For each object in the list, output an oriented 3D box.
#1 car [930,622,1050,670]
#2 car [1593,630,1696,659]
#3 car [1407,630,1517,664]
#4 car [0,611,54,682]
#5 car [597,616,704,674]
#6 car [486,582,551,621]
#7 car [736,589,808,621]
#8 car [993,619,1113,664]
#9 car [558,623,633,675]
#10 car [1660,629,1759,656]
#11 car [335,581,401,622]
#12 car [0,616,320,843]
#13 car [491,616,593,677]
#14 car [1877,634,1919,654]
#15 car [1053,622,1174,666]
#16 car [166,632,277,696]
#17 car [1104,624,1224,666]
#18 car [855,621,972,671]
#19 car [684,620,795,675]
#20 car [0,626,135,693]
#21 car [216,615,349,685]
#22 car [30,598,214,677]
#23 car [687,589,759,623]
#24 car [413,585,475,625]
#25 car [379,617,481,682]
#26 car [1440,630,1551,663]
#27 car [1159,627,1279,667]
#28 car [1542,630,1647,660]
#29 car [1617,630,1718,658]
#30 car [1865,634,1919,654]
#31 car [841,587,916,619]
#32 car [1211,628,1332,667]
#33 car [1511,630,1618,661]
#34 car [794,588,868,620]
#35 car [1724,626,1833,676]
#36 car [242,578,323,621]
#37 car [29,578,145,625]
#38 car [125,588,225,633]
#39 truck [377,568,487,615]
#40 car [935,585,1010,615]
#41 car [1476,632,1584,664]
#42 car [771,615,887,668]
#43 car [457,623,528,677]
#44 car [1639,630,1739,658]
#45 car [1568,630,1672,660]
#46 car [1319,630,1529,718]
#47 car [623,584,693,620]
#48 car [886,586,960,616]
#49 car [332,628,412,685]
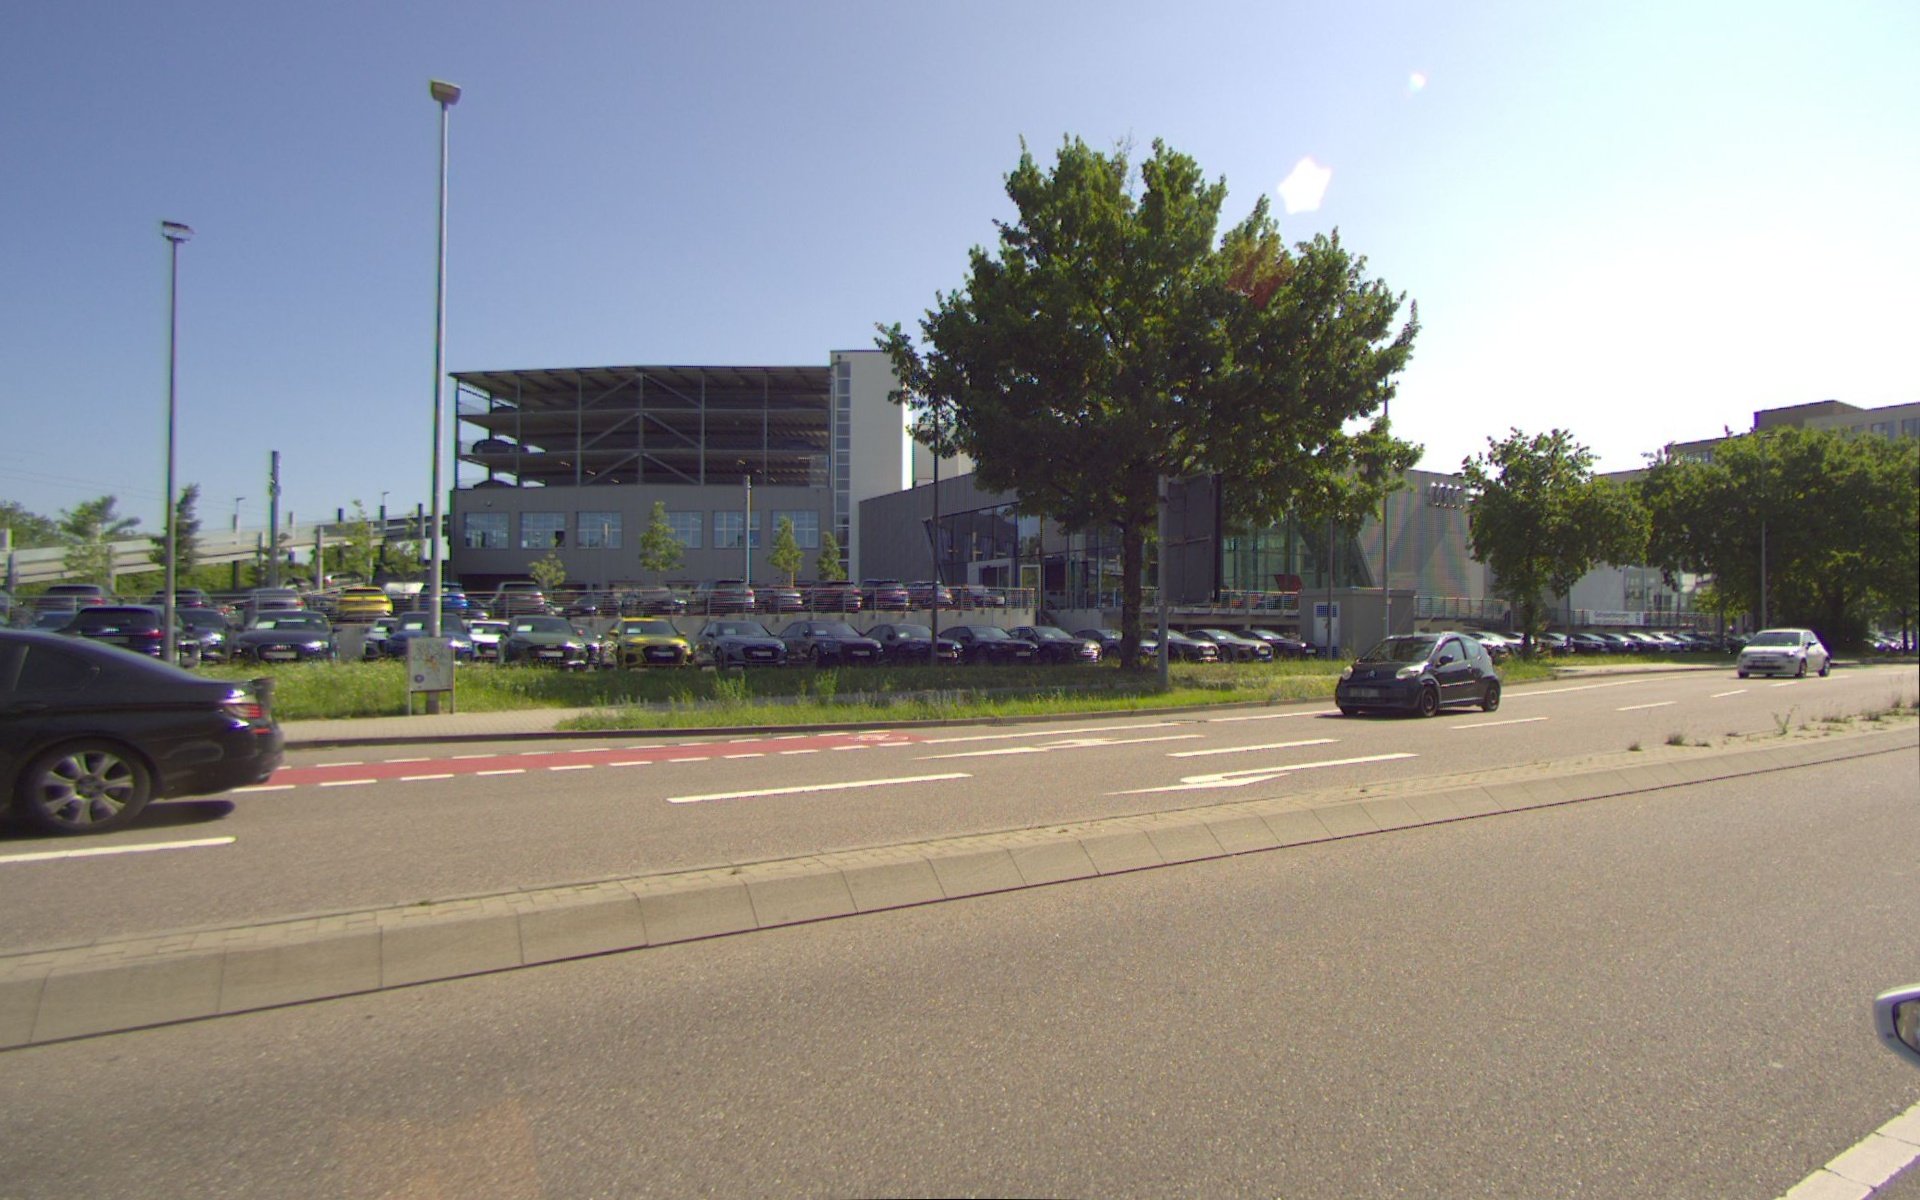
[{"bbox_3d":[0.847,1.391,31.213,1.929,1.368,4.250,1,-2,-28],"label":"car"},{"bbox_3d":[35.111,2.265,51.626,1.901,1.394,3.969,1,-2,-30],"label":"car"},{"bbox_3d":[21.782,2.000,43.728,1.843,1.394,3.969,1,-2,-30],"label":"car"},{"bbox_3d":[-19.361,0.879,19.234,1.929,1.346,4.250,1,-2,-28],"label":"car"},{"bbox_3d":[-8.129,1.130,26.125,1.929,1.368,4.250,1,-2,-28],"label":"car"},{"bbox_3d":[-17.128,0.103,38.892,1.930,1.368,4.248,1,-2,-29],"label":"car"},{"bbox_3d":[-8.477,0.263,45.073,1.930,1.368,4.248,1,-2,-29],"label":"car"},{"bbox_3d":[2.946,1.321,32.695,1.929,1.368,4.250,1,-2,-28],"label":"car"},{"bbox_3d":[-12.713,1.651,34.885,1.929,1.664,4.250,1,-2,-28],"label":"car"},{"bbox_3d":[41.230,2.310,55.344,1.901,1.394,3.969,1,-2,-30],"label":"car"},{"bbox_3d":[-21.469,0.093,36.552,1.930,1.368,4.248,1,-2,-29],"label":"car"},{"bbox_3d":[-7.440,0.885,6.966,4.942,1.482,1.833,1,-4,-31],"label":"car"},{"bbox_3d":[-10.331,1.095,24.653,1.929,1.368,4.250,1,-2,-28],"label":"car"},{"bbox_3d":[67.477,3.068,70.712,1.977,1.361,3.967,1,-2,-31],"label":"car"},{"bbox_3d":[5.101,1.447,33.955,1.929,1.368,4.250,1,-2,-28],"label":"car"},{"bbox_3d":[-21.335,1.784,29.190,1.929,1.664,4.250,1,-2,-28],"label":"car"},{"bbox_3d":[7.077,1.551,35.259,1.929,1.368,4.250,1,-2,-28],"label":"car"},{"bbox_3d":[-1.474,1.334,30.155,1.929,1.368,4.250,1,-2,-28],"label":"car"},{"bbox_3d":[-6.093,1.256,27.409,1.929,1.368,4.250,1,-2,-28],"label":"car"},{"bbox_3d":[-24.159,1.538,27.196,1.929,1.664,4.250,1,-2,-28],"label":"car"},{"bbox_3d":[-14.722,1.044,22.055,1.929,1.368,4.250,1,-2,-28],"label":"car"},{"bbox_3d":[-16.631,0.734,20.194,1.929,1.399,4.250,1,-2,-28],"label":"car"},{"bbox_3d":[-10.215,0.297,43.074,1.930,1.368,4.248,1,-2,-29],"label":"car"},{"bbox_3d":[-19.394,0.230,37.674,1.930,1.368,4.248,1,-2,-29],"label":"car"},{"bbox_3d":[-12.368,1.102,23.524,1.929,1.368,4.250,1,-2,-28],"label":"car"},{"bbox_3d":[24.080,2.062,45.308,2.001,1.394,4.024,1,-2,-30],"label":"car"},{"bbox_3d":[9.334,1.670,36.538,1.929,1.368,4.250,1,-2,-28],"label":"car"},{"bbox_3d":[31.035,2.193,49.242,1.901,1.394,3.969,1,-2,-30],"label":"car"},{"bbox_3d":[37.195,2.287,52.893,1.901,1.394,3.969,1,-2,-30],"label":"car"},{"bbox_3d":[65.475,3.054,69.455,1.977,1.361,3.967,1,-2,-31],"label":"car"},{"bbox_3d":[-3.879,0.161,47.023,1.930,1.368,4.248,1,-2,-29],"label":"car"},{"bbox_3d":[11.623,1.726,37.772,1.929,1.368,4.250,1,-2,-28],"label":"car"},{"bbox_3d":[28.690,2.118,47.815,1.901,1.394,3.969,1,-2,-30],"label":"car"},{"bbox_3d":[-5.920,0.222,45.851,1.930,1.368,4.248,1,-2,-29],"label":"car"},{"bbox_3d":[25.648,1.597,31.463,3.512,1.483,1.644,1,-3,-33],"label":"car"},{"bbox_3d":[-23.508,0.036,34.977,1.930,1.368,4.248,1,-2,-29],"label":"car"},{"bbox_3d":[-27.839,0.103,32.190,1.930,1.368,4.248,1,-2,-29],"label":"car"},{"bbox_3d":[-26.057,0.387,33.477,1.930,1.368,4.248,1,-2,-29],"label":"car"},{"bbox_3d":[-37.122,-0.517,71.078,2.612,2.955,8.468,0,-2,6],"label":"truck"},{"bbox_3d":[0.563,0.015,50.298,1.930,1.368,4.248,1,-2,-29],"label":"car"},{"bbox_3d":[26.341,2.182,46.526,1.901,1.394,3.969,1,-2,-30],"label":"car"},{"bbox_3d":[-3.800,1.144,28.513,1.929,1.368,4.250,1,-2,-28],"label":"car"},{"bbox_3d":[-15.558,1.614,33.331,1.929,1.664,4.250,1,-2,-28],"label":"car"},{"bbox_3d":[39.086,2.334,53.932,1.901,1.394,3.969,1,-2,-30],"label":"car"},{"bbox_3d":[32.980,2.222,50.289,1.901,1.394,3.969,1,-2,-30],"label":"car"},{"bbox_3d":[8.481,1.292,18.247,3.963,1.433,1.771,2,-4,-37],"label":"car"},{"bbox_3d":[-12.562,0.137,41.675,1.930,1.368,4.248,1,-2,-29],"label":"car"},{"bbox_3d":[-1.841,0.080,48.884,1.930,1.368,4.248,1,-2,-29],"label":"car"},{"bbox_3d":[-18.442,1.709,31.643,1.929,1.664,4.250,1,-2,-28],"label":"car"}]
